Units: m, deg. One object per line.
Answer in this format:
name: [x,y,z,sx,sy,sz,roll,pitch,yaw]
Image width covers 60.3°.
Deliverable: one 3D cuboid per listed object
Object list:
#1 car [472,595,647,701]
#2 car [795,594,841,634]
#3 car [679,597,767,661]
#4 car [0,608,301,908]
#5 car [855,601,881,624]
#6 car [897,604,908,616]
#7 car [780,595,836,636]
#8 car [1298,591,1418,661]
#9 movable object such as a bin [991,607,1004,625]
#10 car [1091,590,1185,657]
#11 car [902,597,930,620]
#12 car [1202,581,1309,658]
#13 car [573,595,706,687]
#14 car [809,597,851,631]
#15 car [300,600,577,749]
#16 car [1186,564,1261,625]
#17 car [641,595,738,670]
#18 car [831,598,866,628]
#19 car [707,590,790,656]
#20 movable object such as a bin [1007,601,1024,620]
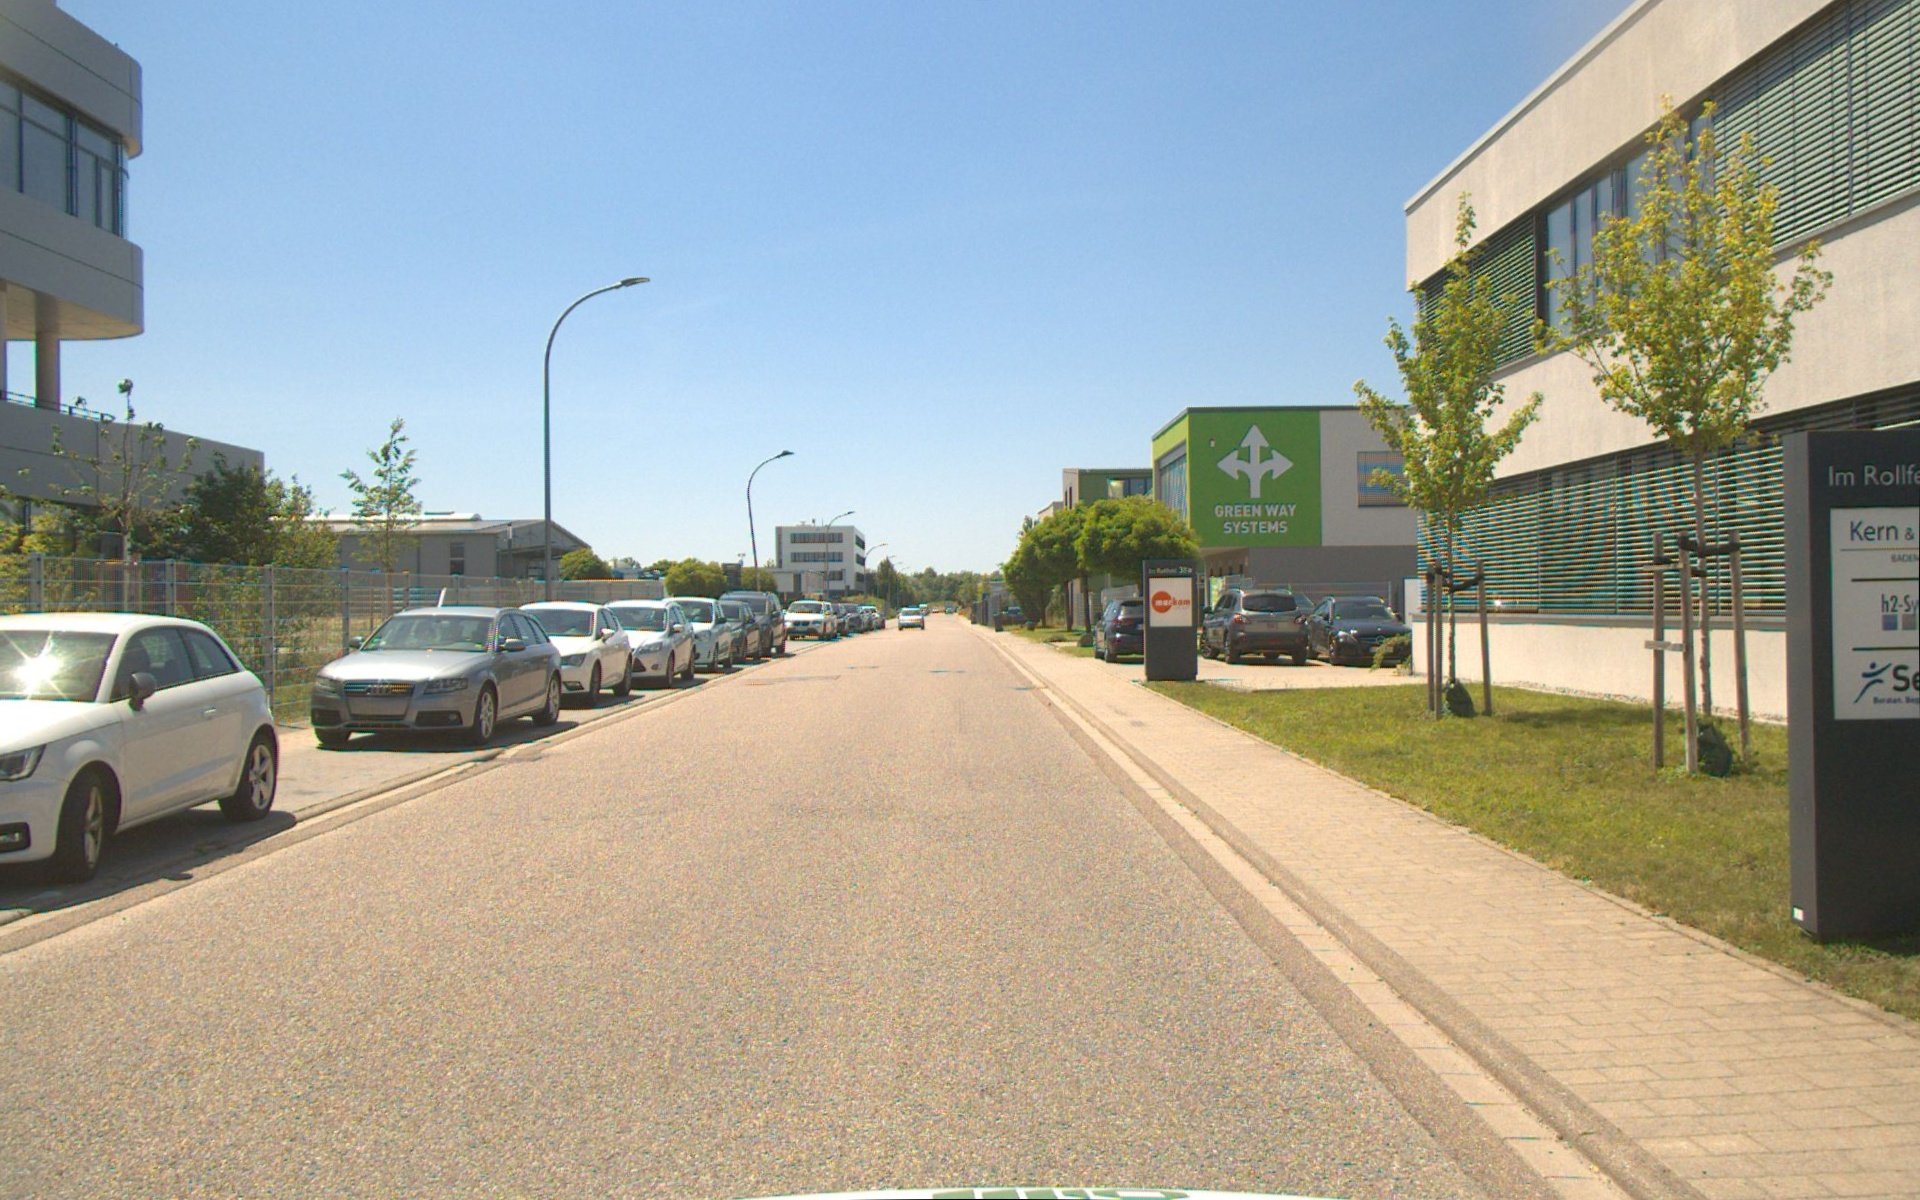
car: [-5.994,0.660,25.244,1.668,1.469,4.438,0,0,-1]
car: [-6.189,0.585,72.289,1.751,1.685,3.767,0,0,-2]
car: [-5.876,0.689,41.344,1.601,1.526,3.971,0,0,0]
car: [-5.544,0.794,10.056,1.665,1.410,3.935,-1,1,-3]
car: [-6.511,0.899,117.869,1.733,1.620,4.358,0,-1,-2]
car: [-7.741,1.362,223.408,1.437,1.516,3.207,-1,0,0]
car: [-6.066,0.612,66.296,1.750,1.569,4.365,0,0,1]
car: [8.864,0.550,37.105,1.688,1.475,4.022,0,0,-1]
movable object such as a bin: [1.990,0.843,87.167,0.540,0.944,0.522,-5,-1,9]
car: [4.004,0.510,37.840,1.657,1.453,4.245,0,0,-1]
car: [-2.953,0.573,110.660,1.670,1.436,4.781,-3,0,-3]
car: [6.655,0.425,37.613,1.688,1.661,4.022,0,0,-1]
car: [-5.841,0.695,30.612,1.668,1.563,4.571,0,0,-1]
car: [-6.172,0.668,79.116,1.727,1.544,4.379,0,0,-1]
car: [-5.726,0.745,18.779,1.649,1.410,4.639,-1,1,0]
car: [11.826,-0.211,74.819,2.086,2.537,7.024,-3,0,-1]
car: [-5.875,0.676,36.264,1.601,1.563,3.657,0,0,-1]
car: [-6.228,0.699,92.477,1.754,1.635,4.461,0,0,-1]
car: [-5.840,0.613,46.124,1.766,1.750,4.621,0,0,0]
movable object such as a bin: [4.467,0.845,133.938,1.307,1.485,0.948,-1,-1,-1]
